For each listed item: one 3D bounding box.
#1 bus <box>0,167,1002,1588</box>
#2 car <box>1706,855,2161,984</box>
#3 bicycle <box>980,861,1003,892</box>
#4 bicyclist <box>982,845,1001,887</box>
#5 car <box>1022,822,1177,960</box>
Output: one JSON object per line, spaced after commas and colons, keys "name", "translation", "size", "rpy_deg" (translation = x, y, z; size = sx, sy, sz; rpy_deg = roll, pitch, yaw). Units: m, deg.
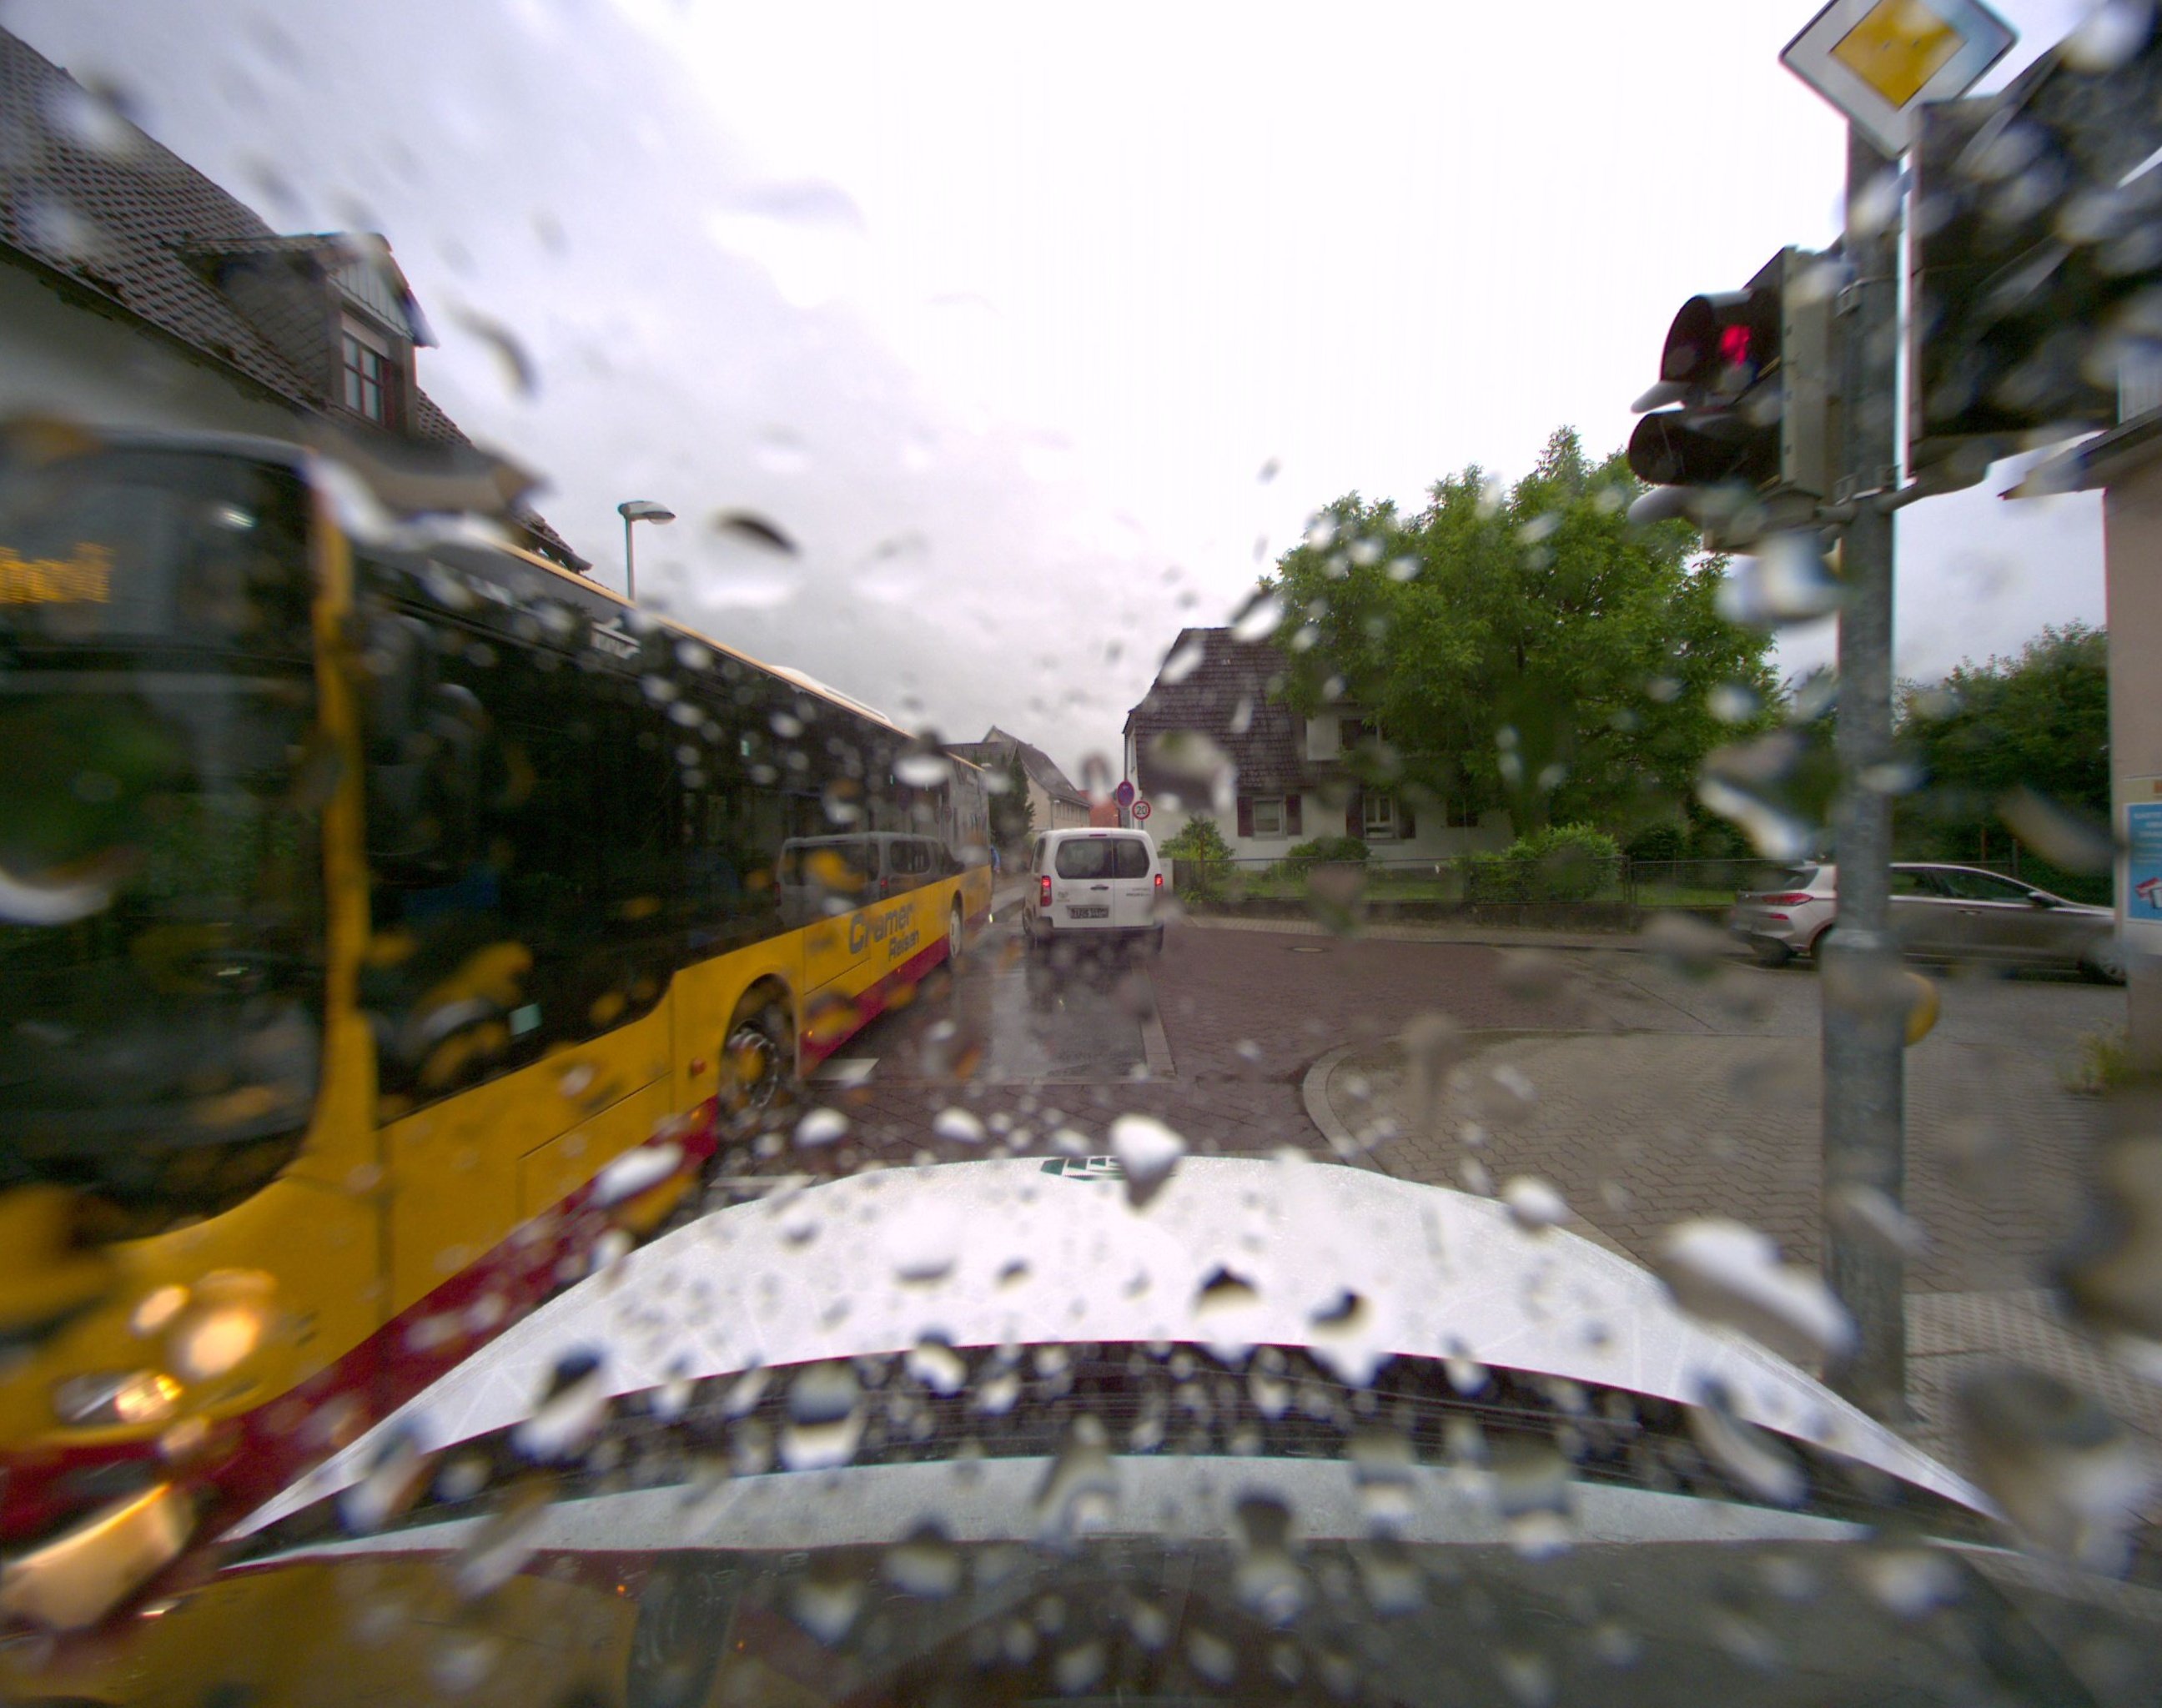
{"name": "bus", "translation": [-2.840, -0.071, 7.823], "size": [2.640, 2.999, 12.197], "rpy_deg": [-1, 1, 1]}
{"name": "car", "translation": [11.108, 0.779, 10.931], "size": [3.956, 1.466, 1.792], "rpy_deg": [1, -1, 16]}
{"name": "bicycle", "translation": [-3.632, 0.901, 33.127], "size": [0.543, 1.181, 1.623], "rpy_deg": [-3, -1, 5]}
{"name": "bicyclist", "translation": [-3.649, 0.488, 33.215], "size": [0.586, 1.707, 0.517], "rpy_deg": [-3, -1, 4]}
{"name": "car", "translation": [0.119, 0.474, 12.563], "size": [1.892, 1.794, 3.804], "rpy_deg": [0, 0, -7]}
